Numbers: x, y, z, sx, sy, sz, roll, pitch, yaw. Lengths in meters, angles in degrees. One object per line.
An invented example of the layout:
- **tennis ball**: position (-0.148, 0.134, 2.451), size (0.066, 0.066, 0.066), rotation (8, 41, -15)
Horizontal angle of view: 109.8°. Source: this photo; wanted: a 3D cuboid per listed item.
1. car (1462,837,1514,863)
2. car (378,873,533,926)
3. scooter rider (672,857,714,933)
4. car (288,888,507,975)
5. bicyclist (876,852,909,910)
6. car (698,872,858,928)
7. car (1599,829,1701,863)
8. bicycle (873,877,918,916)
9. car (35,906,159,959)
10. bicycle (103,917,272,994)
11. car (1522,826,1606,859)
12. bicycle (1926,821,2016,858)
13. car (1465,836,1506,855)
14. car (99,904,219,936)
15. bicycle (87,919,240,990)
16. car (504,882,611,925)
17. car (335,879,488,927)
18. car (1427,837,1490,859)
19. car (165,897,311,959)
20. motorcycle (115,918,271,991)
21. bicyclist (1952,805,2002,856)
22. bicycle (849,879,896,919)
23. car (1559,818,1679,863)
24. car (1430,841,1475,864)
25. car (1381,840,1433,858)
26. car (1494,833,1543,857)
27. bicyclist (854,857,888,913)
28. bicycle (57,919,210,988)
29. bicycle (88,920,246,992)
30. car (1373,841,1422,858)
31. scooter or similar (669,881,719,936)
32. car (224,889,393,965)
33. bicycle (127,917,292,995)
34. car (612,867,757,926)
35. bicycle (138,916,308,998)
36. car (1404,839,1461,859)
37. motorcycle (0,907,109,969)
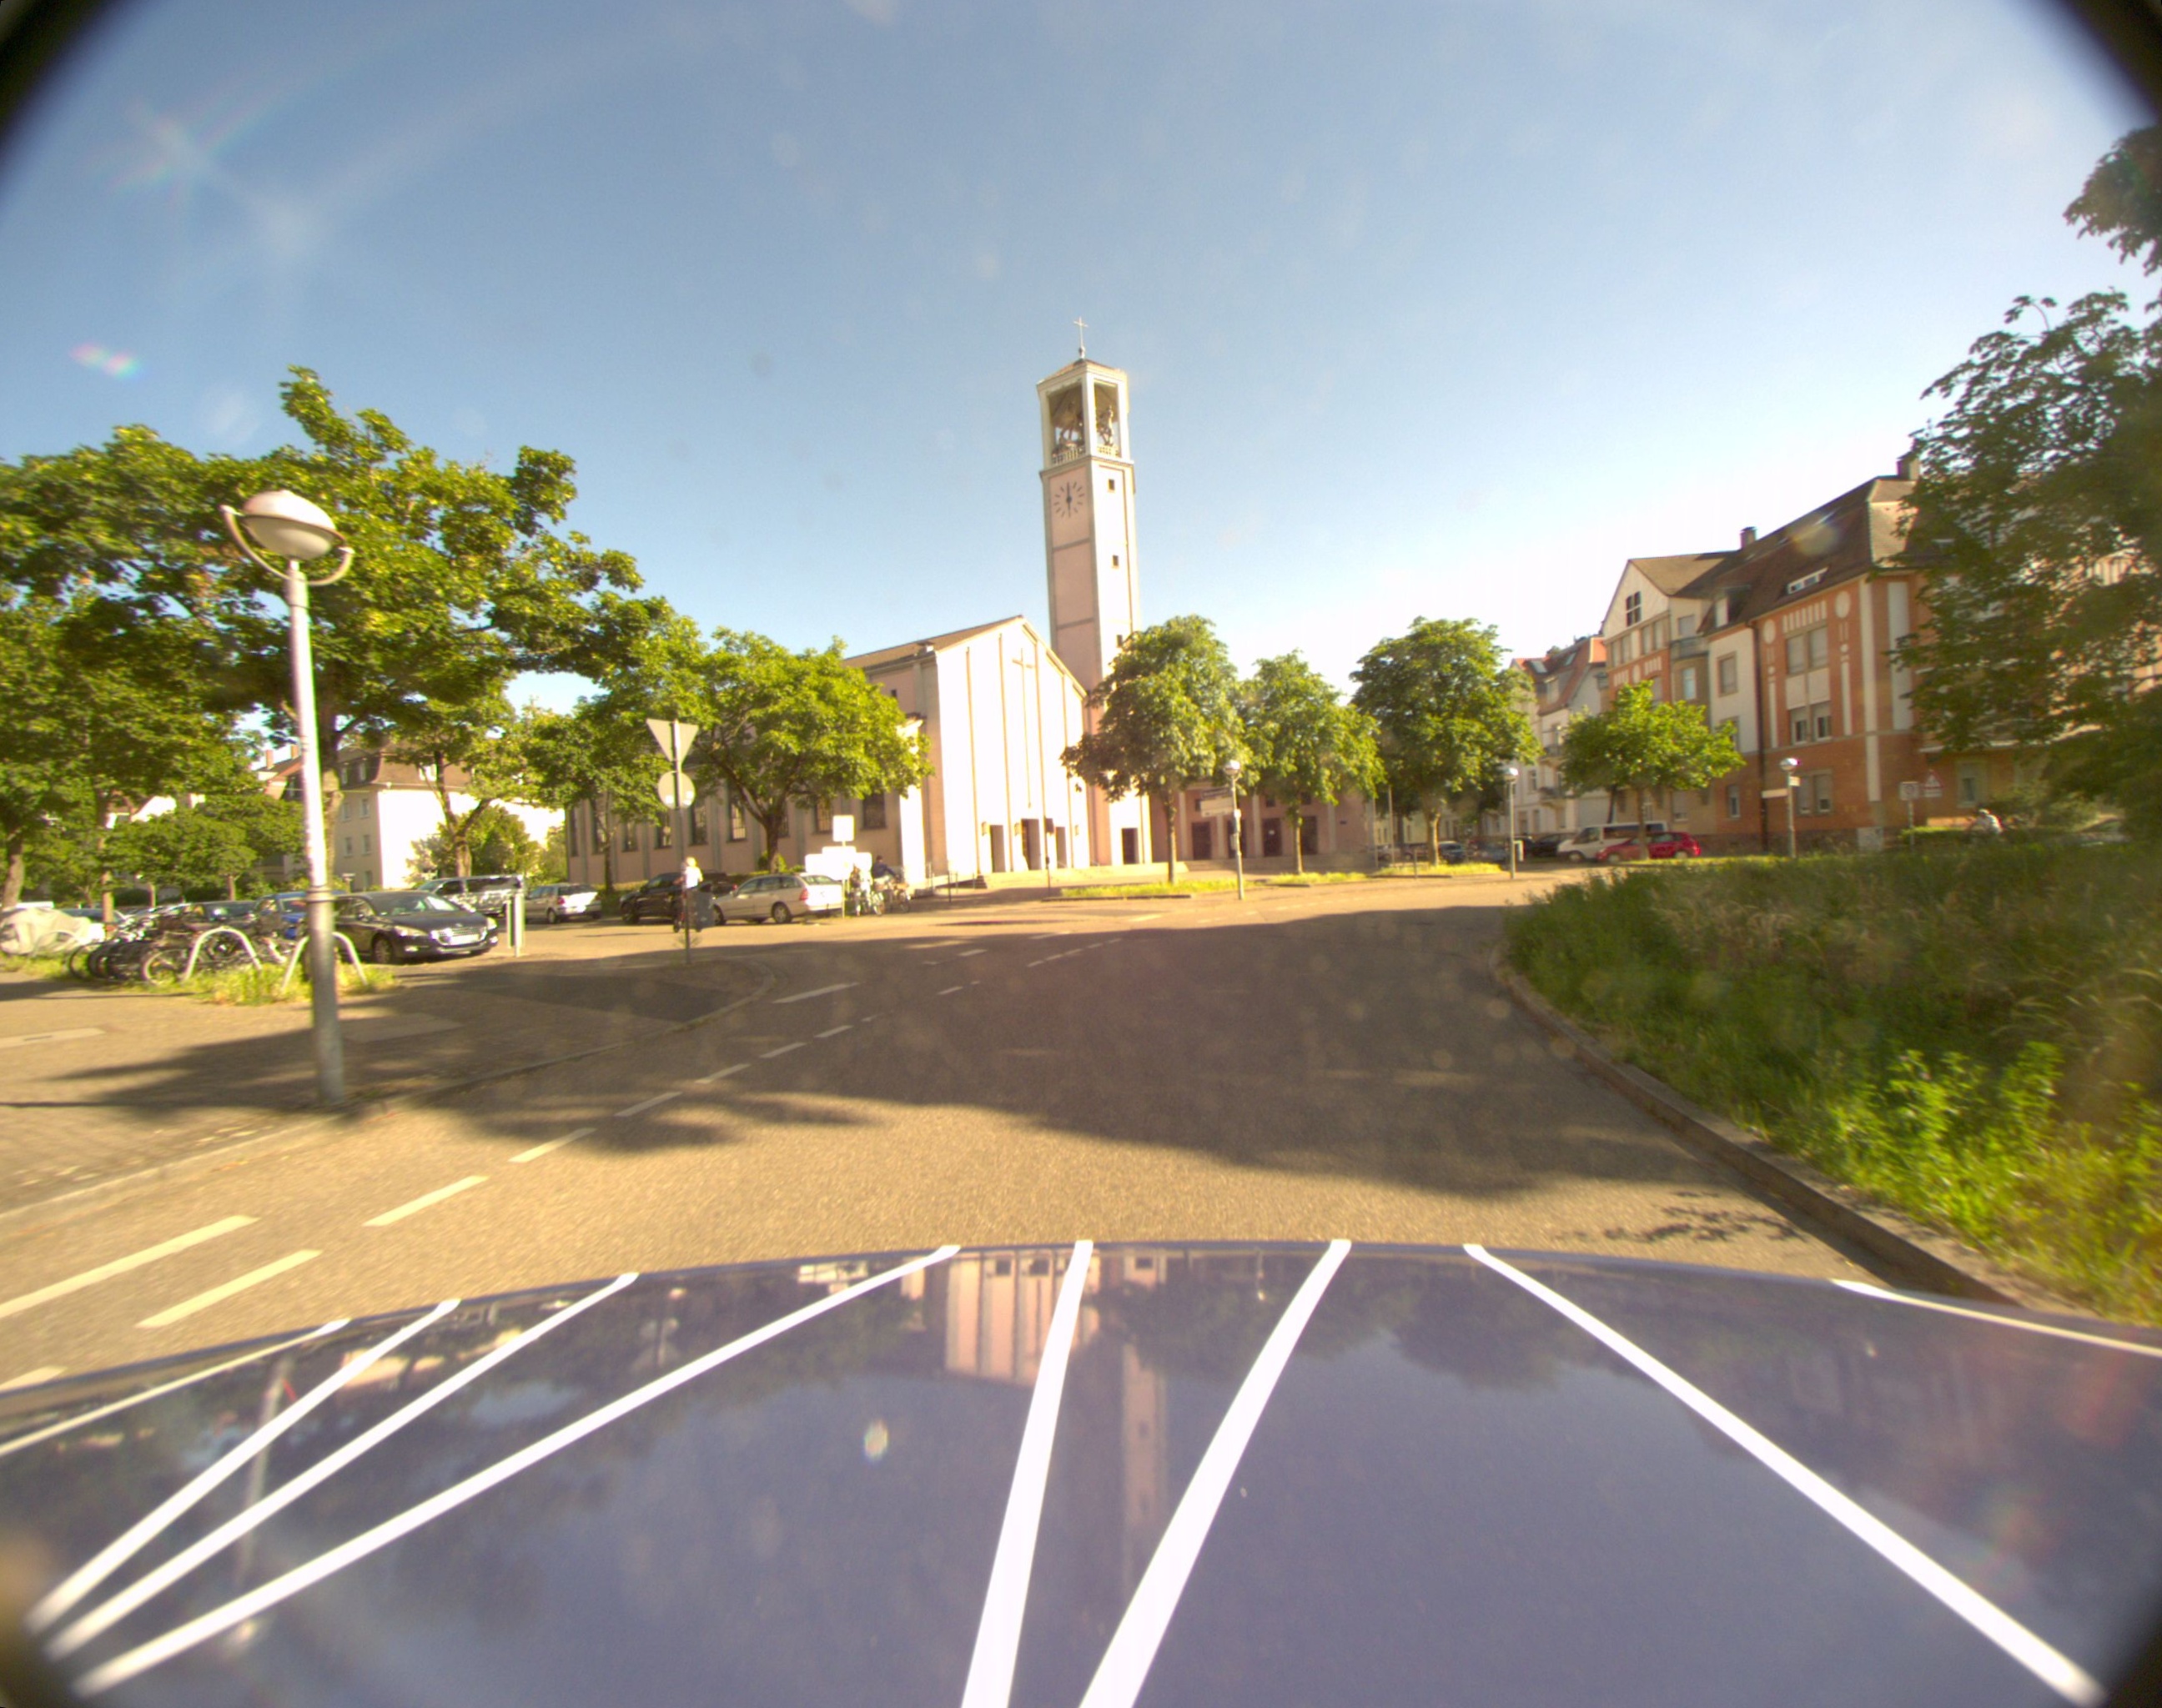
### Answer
- **car**: position (24.633, -0.257, 46.115), size (1.612, 1.414, 3.616), rotation (-3, 0, 8)
- **car**: position (-26.870, 1.909, 32.866), size (1.805, 1.989, 4.788), rotation (-3, -1, 26)
- **scooter rider**: position (-9.594, 0.994, 18.797), size (0.630, 1.821, 0.626), rotation (-2, 0, 37)
- **car**: position (-14.555, 1.603, 16.167), size (4.328, 1.475, 1.812), rotation (-3, 2, 25)
- **bicyclist**: position (-5.772, 0.821, 23.223), size (0.647, 1.705, 0.721), rotation (-4, 1, -38)
- **car**: position (-8.803, 1.340, 22.061), size (4.328, 1.407, 1.813), rotation (-3, -1, 25)
- **car**: position (26.586, -0.367, 35.574), size (3.686, 1.427, 1.672), rotation (-3, 0, 38)
- **bicycle**: position (-5.650, 1.267, 23.104), size (0.647, 1.101, 1.712), rotation (-4, 1, -38)
- **car**: position (-32.465, 2.530, 25.052), size (4.388, 1.389, 1.812), rotation (-2, 3, 30)
- **bicycle**: position (-15.246, 1.698, 13.038), size (0.500, 1.100, 1.832), rotation (-2, -1, 15)
- **car**: position (28.180, -0.643, 44.409), size (3.945, 1.728, 1.765), rotation (-3, 0, 38)
- **bicycle**: position (30.818, -0.496, 26.343), size (1.866, 1.191, 0.766), rotation (-3, 1, 22)
- **car**: position (33.018, -0.679, 62.135), size (1.759, 1.447, 3.958), rotation (-3, 0, 9)
- **car**: position (-62.016, 4.416, 51.214), size (1.805, 1.734, 4.788), rotation (-3, -1, 26)
- **bicycle**: position (-16.812, 1.807, 13.977), size (0.499, 1.100, 1.730), rotation (-2, -2, 27)
- **car**: position (-19.995, 1.873, 28.953), size (4.327, 1.465, 1.813), rotation (-3, -1, 33)
- **car**: position (-29.966, 2.148, 34.181), size (1.805, 1.830, 4.788), rotation (-3, -1, 29)
- **car**: position (28.839, -0.430, 58.132), size (3.945, 1.487, 1.765), rotation (-3, 0, 43)
- **car**: position (-24.285, 2.087, 21.862), size (4.388, 1.442, 1.812), rotation (-2, 3, 30)
- **motorcycle**: position (-15.773, 1.757, 13.553), size (0.500, 1.100, 1.730), rotation (-2, -1, 23)
- **bicyclist**: position (30.958, -0.799, 26.269), size (0.810, 1.686, 0.766), rotation (-3, 1, 22)
- **bicycle**: position (-6.123, 1.291, 22.228), size (0.597, 1.101, 1.858), rotation (-4, 1, -38)
- **car**: position (27.153, -0.651, 38.422), size (4.693, 2.033, 1.998), rotation (-3, 0, 41)
- **car**: position (24.778, -0.103, 50.759), size (1.612, 1.414, 3.616), rotation (-3, 0, 8)
- **car**: position (30.121, -0.420, 70.261), size (3.945, 1.487, 1.765), rotation (-3, 0, 43)
- **car**: position (32.377, -0.678, 56.320), size (1.759, 1.648, 3.958), rotation (-3, 0, 9)
- **bicyclist**: position (-6.134, 0.894, 22.203), size (0.597, 1.572, 0.802), rotation (-4, 2, -38)
- **bicycle**: position (-17.775, 1.833, 14.307), size (0.514, 1.100, 1.730), rotation (-2, -2, 27)
- **bicycle**: position (-16.323, 1.785, 13.631), size (0.500, 1.100, 1.730), rotation (-2, -1, 23)
- **car**: position (30.575, -0.405, 73.419), size (3.945, 1.487, 1.765), rotation (-3, 0, 43)
- **scooter or similar**: position (-9.579, 1.339, 18.795), size (1.103, 1.275, 0.633), rotation (-2, 0, 37)
- **car**: position (-19.484, 1.771, 19.137), size (4.388, 1.553, 1.812), rotation (-2, 3, 30)
- **bicycle**: position (-14.484, 1.660, 12.688), size (0.544, 1.108, 1.730), rotation (-2, -2, 30)
- **car**: position (-12.757, 1.363, 24.428), size (4.328, 1.718, 1.813), rotation (-3, -1, 25)
- **bicycle**: position (-13.709, 1.603, 12.200), size (0.544, 1.108, 1.730), rotation (-2, -2, 30)
- **car**: position (29.715, -0.431, 64.261), size (3.945, 1.487, 1.765), rotation (-3, 0, 43)
- **motorcycle**: position (-26.450, 2.108, 19.487), size (0.958, 1.421, 2.277), rotation (-1, -2, -26)
